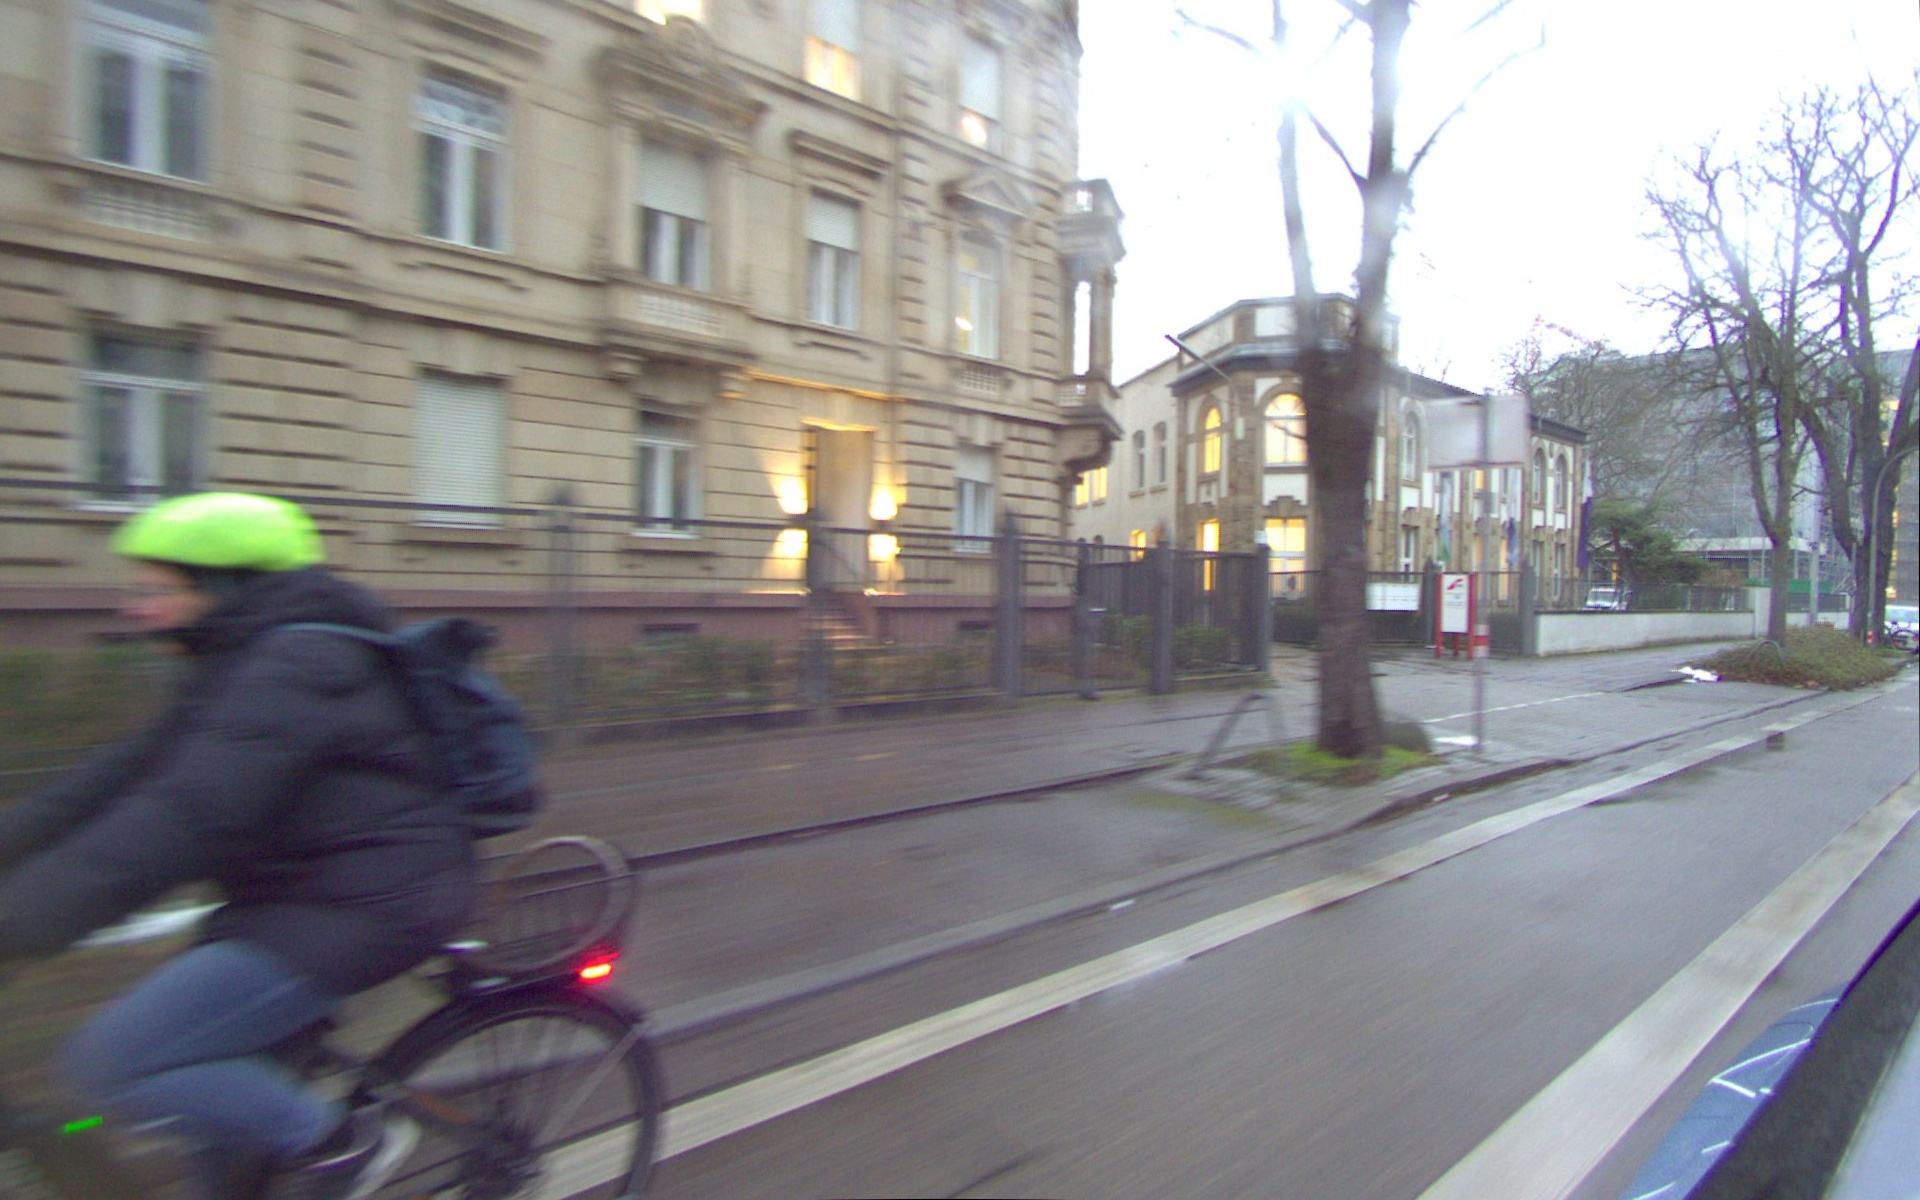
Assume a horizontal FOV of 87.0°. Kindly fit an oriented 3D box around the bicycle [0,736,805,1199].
[{"bbox_3d":[-1.324,0.901,1.703,1.992,1.110,0.709,1,1,-38],"label":"bicycle"}]

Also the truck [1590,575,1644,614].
[{"bbox_3d":[46.896,-0.475,72.130,2.124,2.619,6.975,2,3,42],"label":"truck"}]

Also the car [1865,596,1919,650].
[{"bbox_3d":[29.526,0.706,31.436,3.574,1.539,1.694,1,1,-42],"label":"car"}]

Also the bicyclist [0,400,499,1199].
[{"bbox_3d":[-1.311,0.466,1.684,0.834,1.464,0.658,1,1,-38],"label":"bicyclist"}]

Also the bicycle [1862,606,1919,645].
[{"bbox_3d":[27.878,0.769,29.920,0.651,1.084,1.716,1,1,-40],"label":"bicycle"}]

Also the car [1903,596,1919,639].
[{"bbox_3d":[36.057,0.670,37.334,3.512,1.542,1.645,1,0,-43],"label":"car"}]
